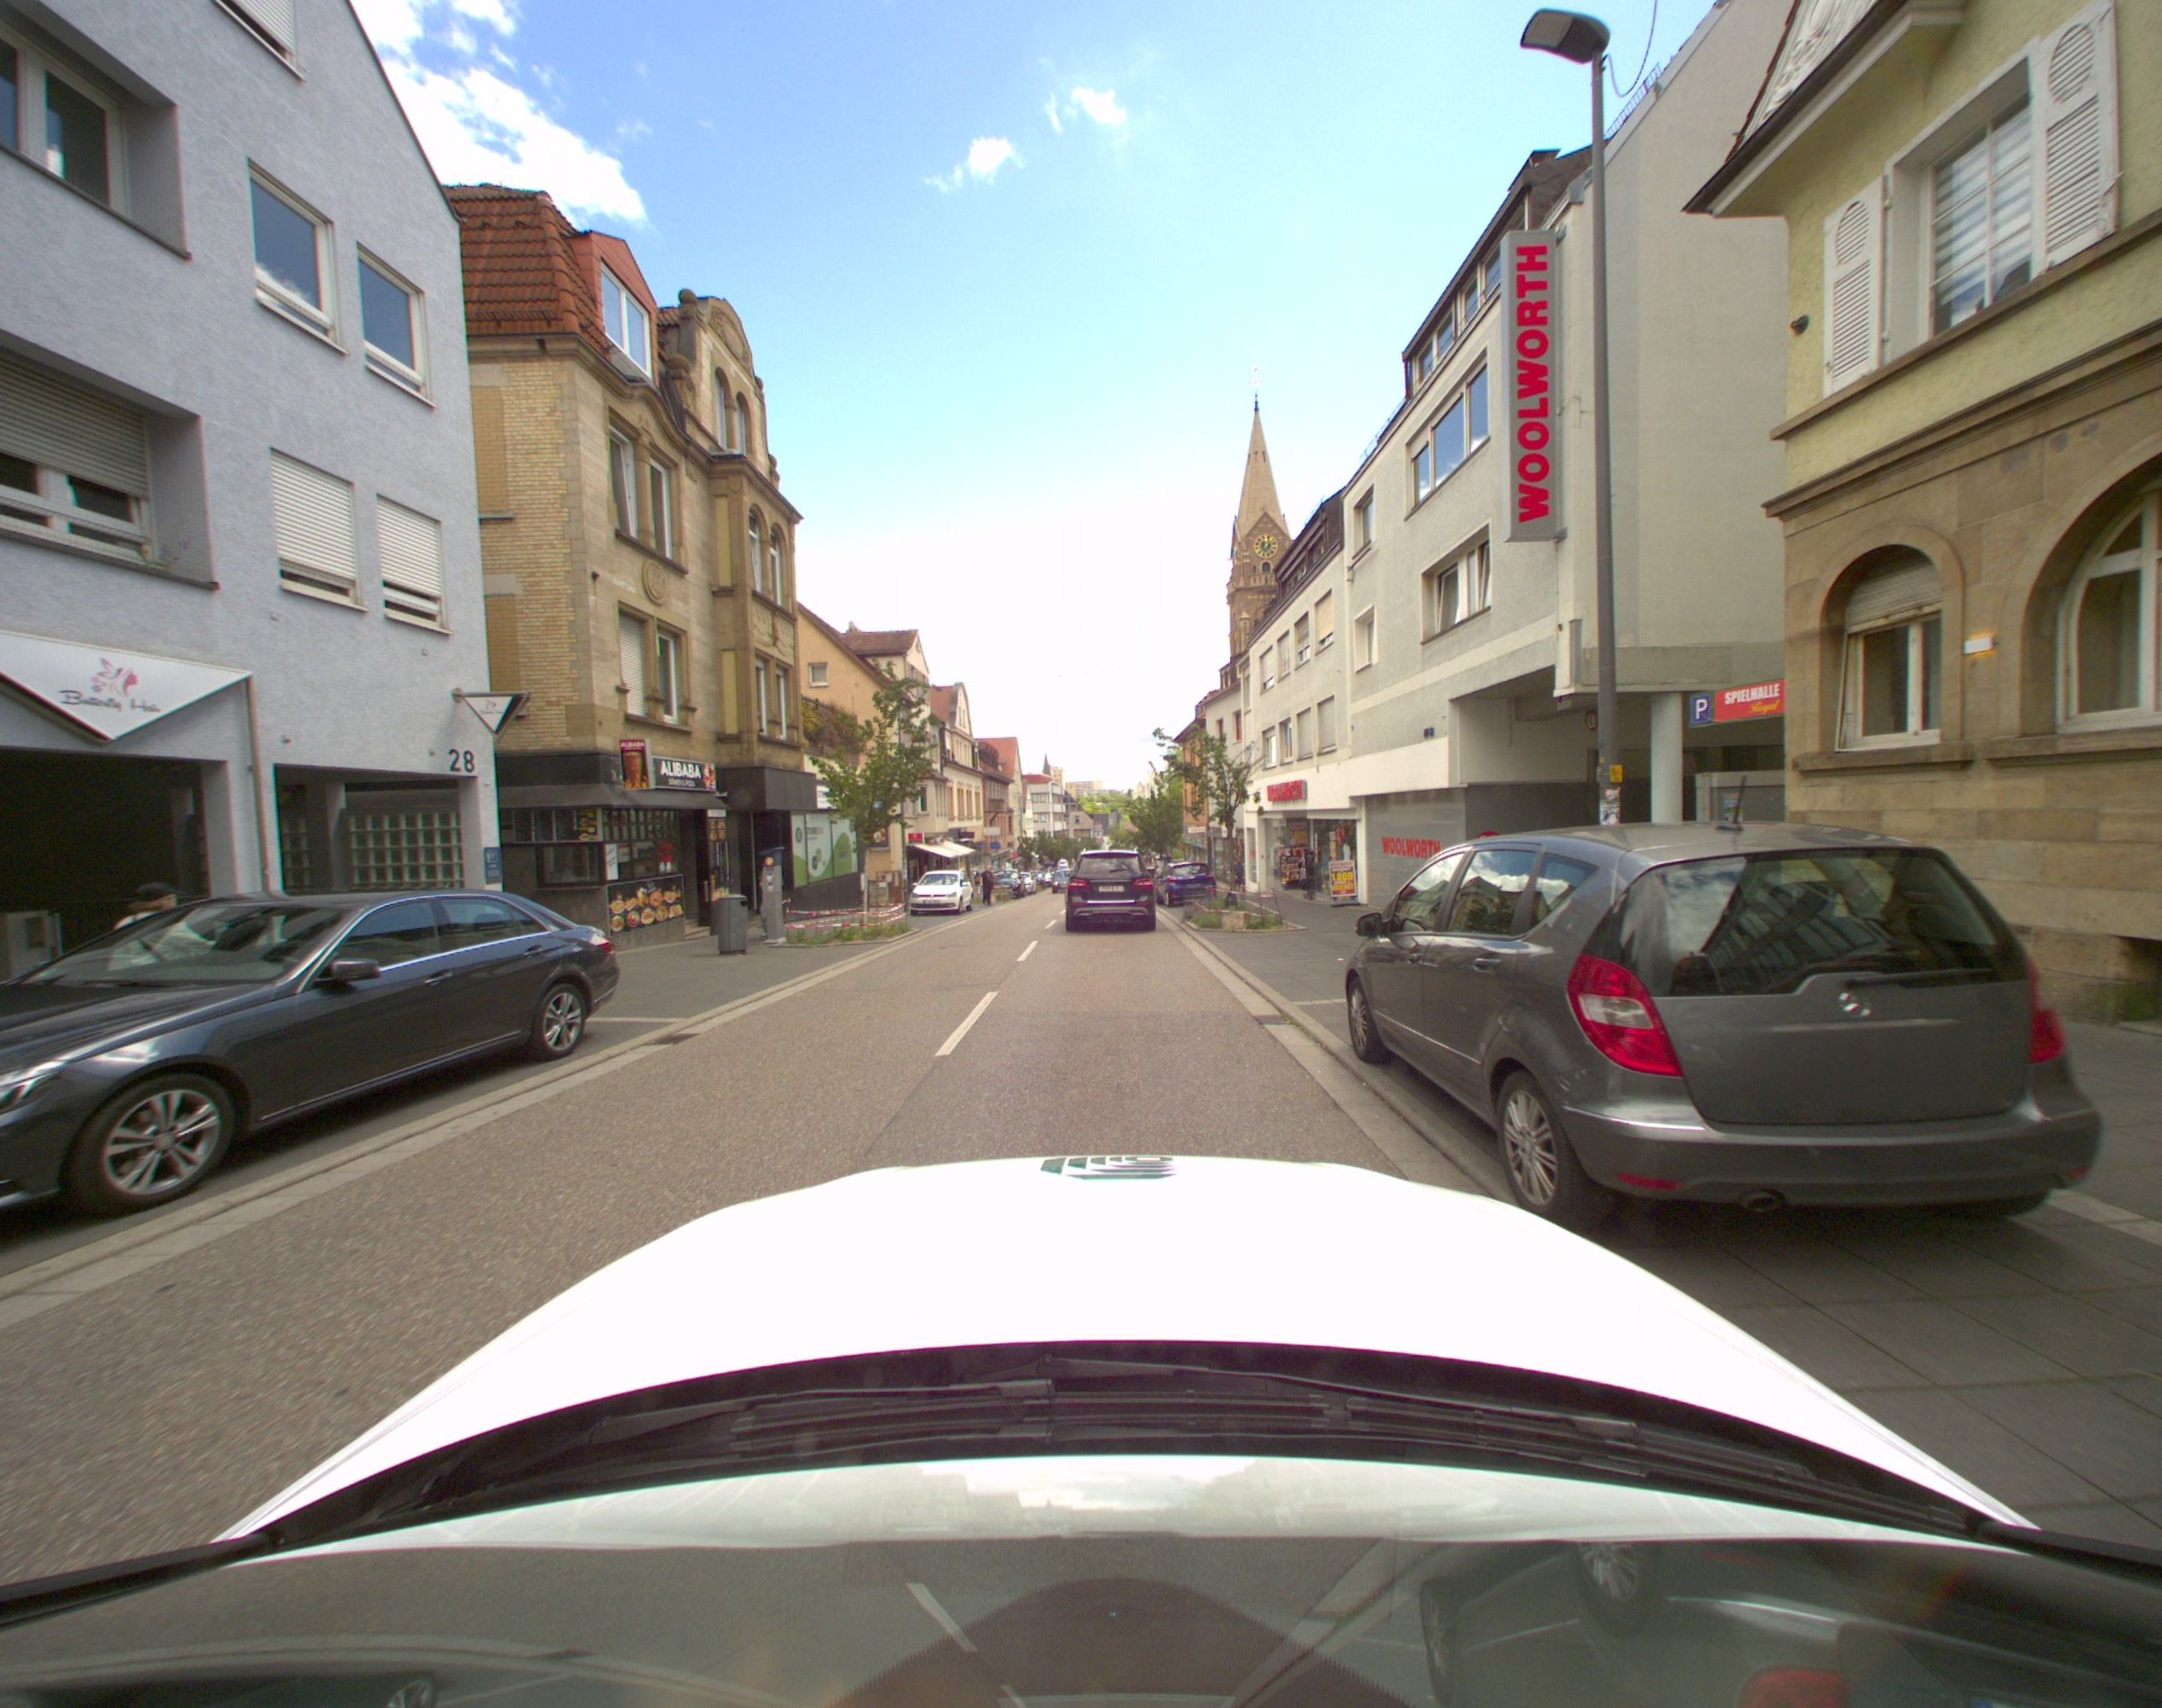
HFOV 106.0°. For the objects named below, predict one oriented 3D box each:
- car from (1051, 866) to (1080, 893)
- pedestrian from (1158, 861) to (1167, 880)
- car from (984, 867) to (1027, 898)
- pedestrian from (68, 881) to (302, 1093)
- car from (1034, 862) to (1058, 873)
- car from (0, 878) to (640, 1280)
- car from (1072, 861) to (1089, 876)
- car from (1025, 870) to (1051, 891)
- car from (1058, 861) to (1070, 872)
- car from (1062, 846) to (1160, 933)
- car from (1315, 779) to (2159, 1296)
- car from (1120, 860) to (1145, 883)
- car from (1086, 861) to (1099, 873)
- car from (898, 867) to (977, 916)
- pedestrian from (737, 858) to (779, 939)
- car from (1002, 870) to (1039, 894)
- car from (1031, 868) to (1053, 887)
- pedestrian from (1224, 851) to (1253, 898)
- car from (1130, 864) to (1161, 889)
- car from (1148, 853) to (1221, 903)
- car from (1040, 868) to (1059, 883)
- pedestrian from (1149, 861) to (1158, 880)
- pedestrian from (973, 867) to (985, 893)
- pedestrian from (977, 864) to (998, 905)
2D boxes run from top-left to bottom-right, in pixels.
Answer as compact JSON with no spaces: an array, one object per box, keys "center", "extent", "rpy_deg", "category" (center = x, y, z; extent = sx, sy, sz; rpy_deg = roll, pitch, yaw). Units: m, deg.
[{"center":[-1.007,1.700,55.167],"extent":[1.813,1.618,4.134],"rpy_deg":[-4,-1,-1],"category":"car"},{"center":[7.064,1.399,70.814],"extent":[0.670,1.632,0.669],"rpy_deg":[-2,-1,-1],"category":"pedestrian"},{"center":[-4.133,1.531,45.364],"extent":[1.920,1.621,4.639],"rpy_deg":[0,-1,0],"category":"car"},{"center":[-6.704,0.949,6.145],"extent":[0.823,1.463,0.810],"rpy_deg":[0,-1,1],"category":"pedestrian"},{"center":[-6.077,2.333,141.868],"extent":[3.978,1.750,1.998],"rpy_deg":[-4,-1,-3],"category":"car"},{"center":[-5.310,0.978,5.555],"extent":[1.920,1.492,4.842],"rpy_deg":[0,0,0],"category":"car"},{"center":[-0.011,1.757,101.021],"extent":[1.985,1.718,4.447],"rpy_deg":[-2,0,0],"category":"car"},{"center":[-3.493,2.134,66.778],"extent":[1.921,1.497,4.259],"rpy_deg":[-2,0,-1],"category":"car"},{"center":[-2.780,2.050,134.474],"extent":[1.920,1.628,4.413],"rpy_deg":[0,0,0],"category":"car"},{"center":[0.676,0.710,18.538],"extent":[1.936,1.740,4.180],"rpy_deg":[-1,0,2],"category":"car"},{"center":[2.677,0.614,4.573],"extent":[1.741,1.608,3.803],"rpy_deg":[-3,0,3],"category":"car"},{"center":[4.545,1.517,72.719],"extent":[1.931,1.891,4.707],"rpy_deg":[-4,0,1],"category":"car"},{"center":[1.781,1.936,123.866],"extent":[1.759,1.617,4.033],"rpy_deg":[-5,0,1],"category":"car"},{"center":[-4.863,1.218,28.150],"extent":[1.920,1.511,4.262],"rpy_deg":[0,0,0],"category":"car"},{"center":[-6.917,0.938,17.448],"extent":[0.584,1.713,0.710],"rpy_deg":[0,-1,1],"category":"pedestrian"},{"center":[-3.914,1.818,53.112],"extent":[1.919,1.430,4.264],"rpy_deg":[-1,-1,2],"category":"car"},{"center":[-3.484,2.071,74.060],"extent":[1.921,1.595,4.455],"rpy_deg":[0,0,-2],"category":"car"},{"center":[5.443,0.714,28.163],"extent":[0.754,1.561,0.817],"rpy_deg":[-3,-1,-2],"category":"pedestrian"},{"center":[4.311,1.501,55.083],"extent":[1.742,1.465,4.074],"rpy_deg":[-5,0,0],"category":"car"},{"center":[3.528,0.846,28.336],"extent":[1.745,1.498,3.795],"rpy_deg":[-4,-2,-3],"category":"car"},{"center":[-3.436,2.382,90.491],"extent":[1.920,1.497,4.262],"rpy_deg":[0,0,0],"category":"car"},{"center":[6.324,1.431,70.757],"extent":[0.670,1.632,0.669],"rpy_deg":[-2,-1,-1],"category":"pedestrian"},{"center":[-6.437,1.658,51.527],"extent":[0.545,1.576,0.863],"rpy_deg":[-3,-1,0],"category":"pedestrian"},{"center":[-3.943,1.273,34.376],"extent":[0.735,1.672,0.862],"rpy_deg":[-2,-1,-1],"category":"pedestrian"}]
